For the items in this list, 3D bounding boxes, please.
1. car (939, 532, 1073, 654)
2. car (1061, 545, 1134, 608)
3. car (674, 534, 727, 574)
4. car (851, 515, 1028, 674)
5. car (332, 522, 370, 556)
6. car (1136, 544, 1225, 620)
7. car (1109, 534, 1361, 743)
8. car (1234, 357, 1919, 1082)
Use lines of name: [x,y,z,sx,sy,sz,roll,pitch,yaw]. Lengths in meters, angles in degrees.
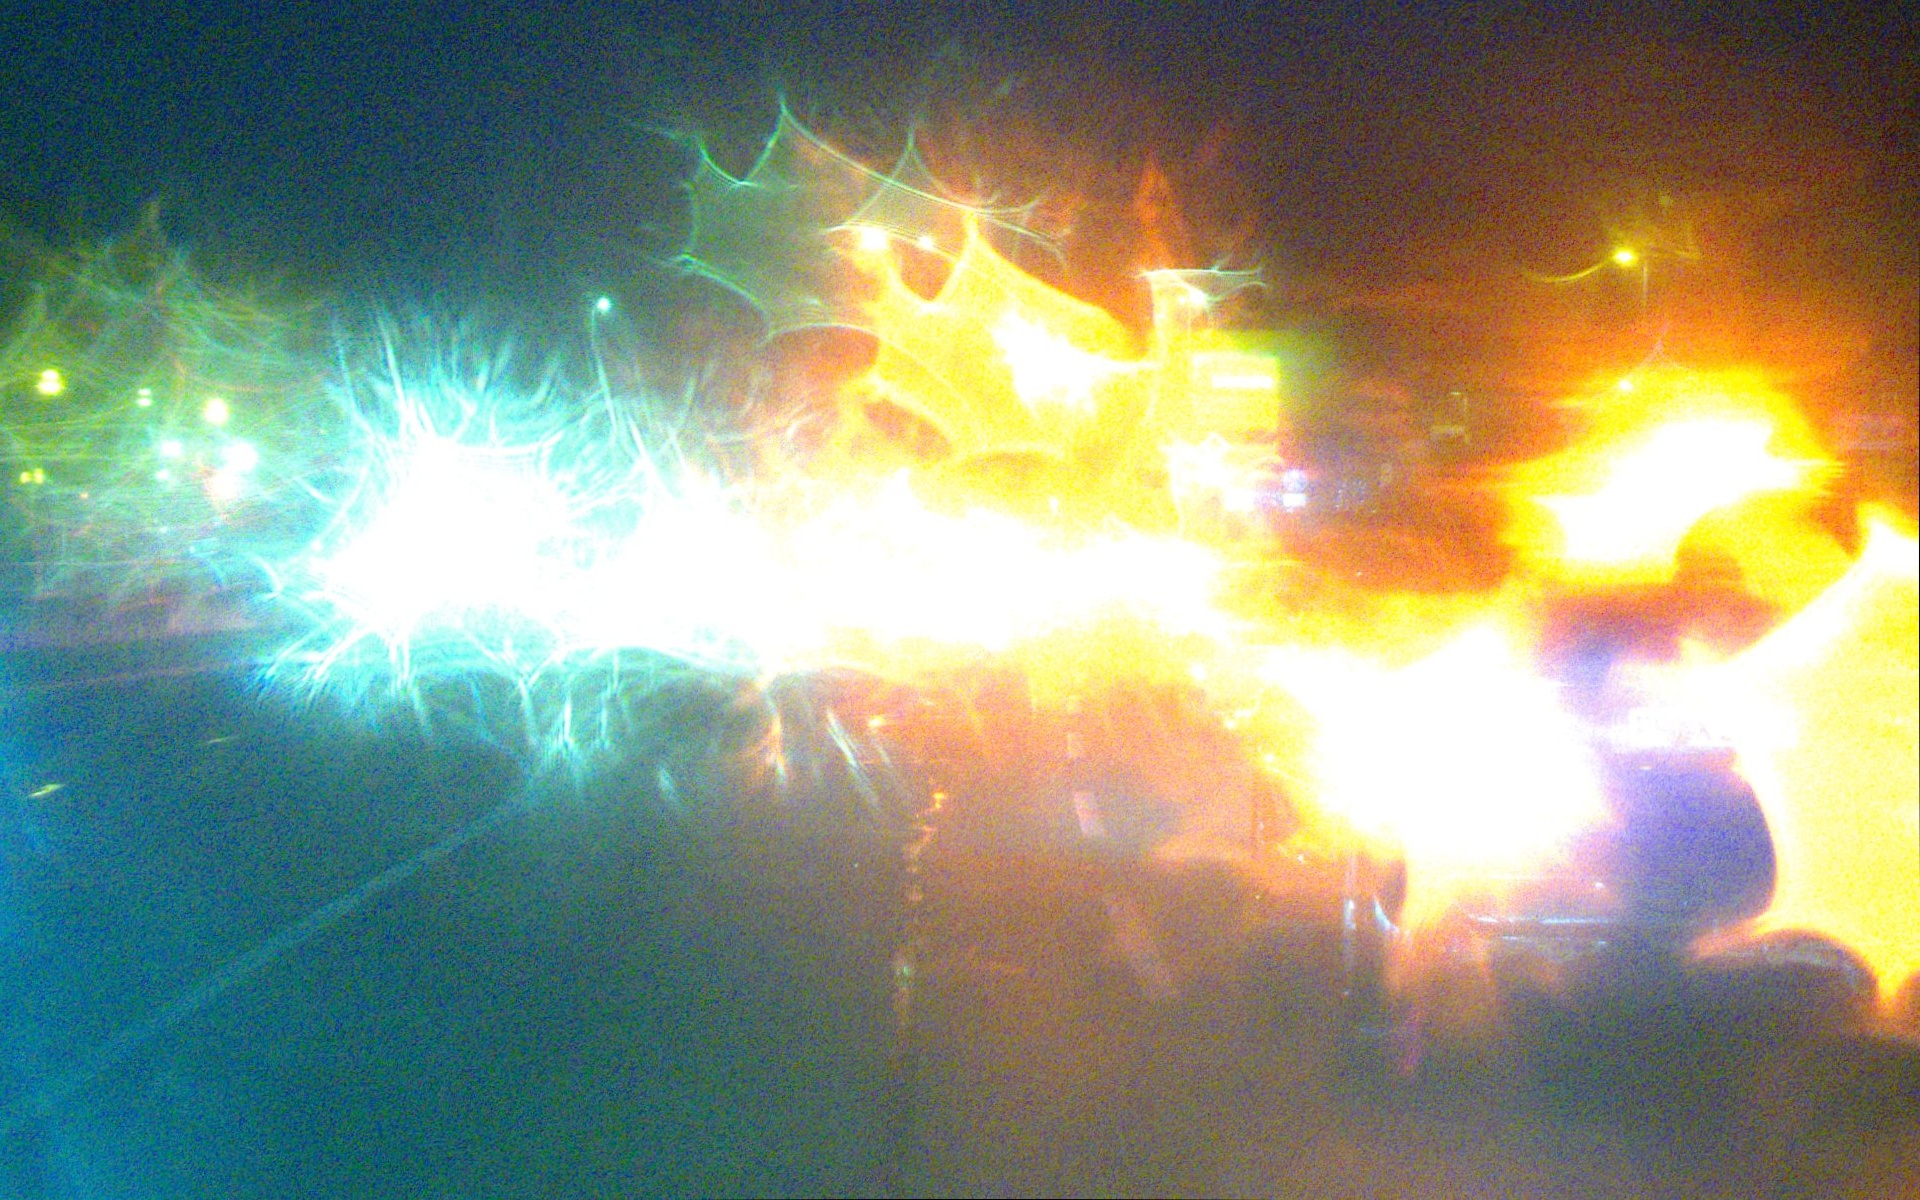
car: [0.689,-0.132,48.749,1.709,1.632,3.730,-1,1,3]
car: [3.245,-0.555,80.775,1.663,1.445,4.049,1,0,2]
car: [-10.044,-1.789,132.846,1.708,1.493,3.731,-1,1,-9]
car: [-0.172,-0.076,37.546,1.694,1.624,3.852,1,1,3]
car: [-34.985,-3.528,197.671,1.993,1.905,4.744,0,1,-8]
car: [4.350,-0.354,67.429,1.663,1.445,4.049,0,0,5]
car: [2.179,0.231,26.519,1.768,1.445,4.217,1,1,6]
car: [2.077,0.277,11.484,1.942,1.965,4.218,0,1,0]
